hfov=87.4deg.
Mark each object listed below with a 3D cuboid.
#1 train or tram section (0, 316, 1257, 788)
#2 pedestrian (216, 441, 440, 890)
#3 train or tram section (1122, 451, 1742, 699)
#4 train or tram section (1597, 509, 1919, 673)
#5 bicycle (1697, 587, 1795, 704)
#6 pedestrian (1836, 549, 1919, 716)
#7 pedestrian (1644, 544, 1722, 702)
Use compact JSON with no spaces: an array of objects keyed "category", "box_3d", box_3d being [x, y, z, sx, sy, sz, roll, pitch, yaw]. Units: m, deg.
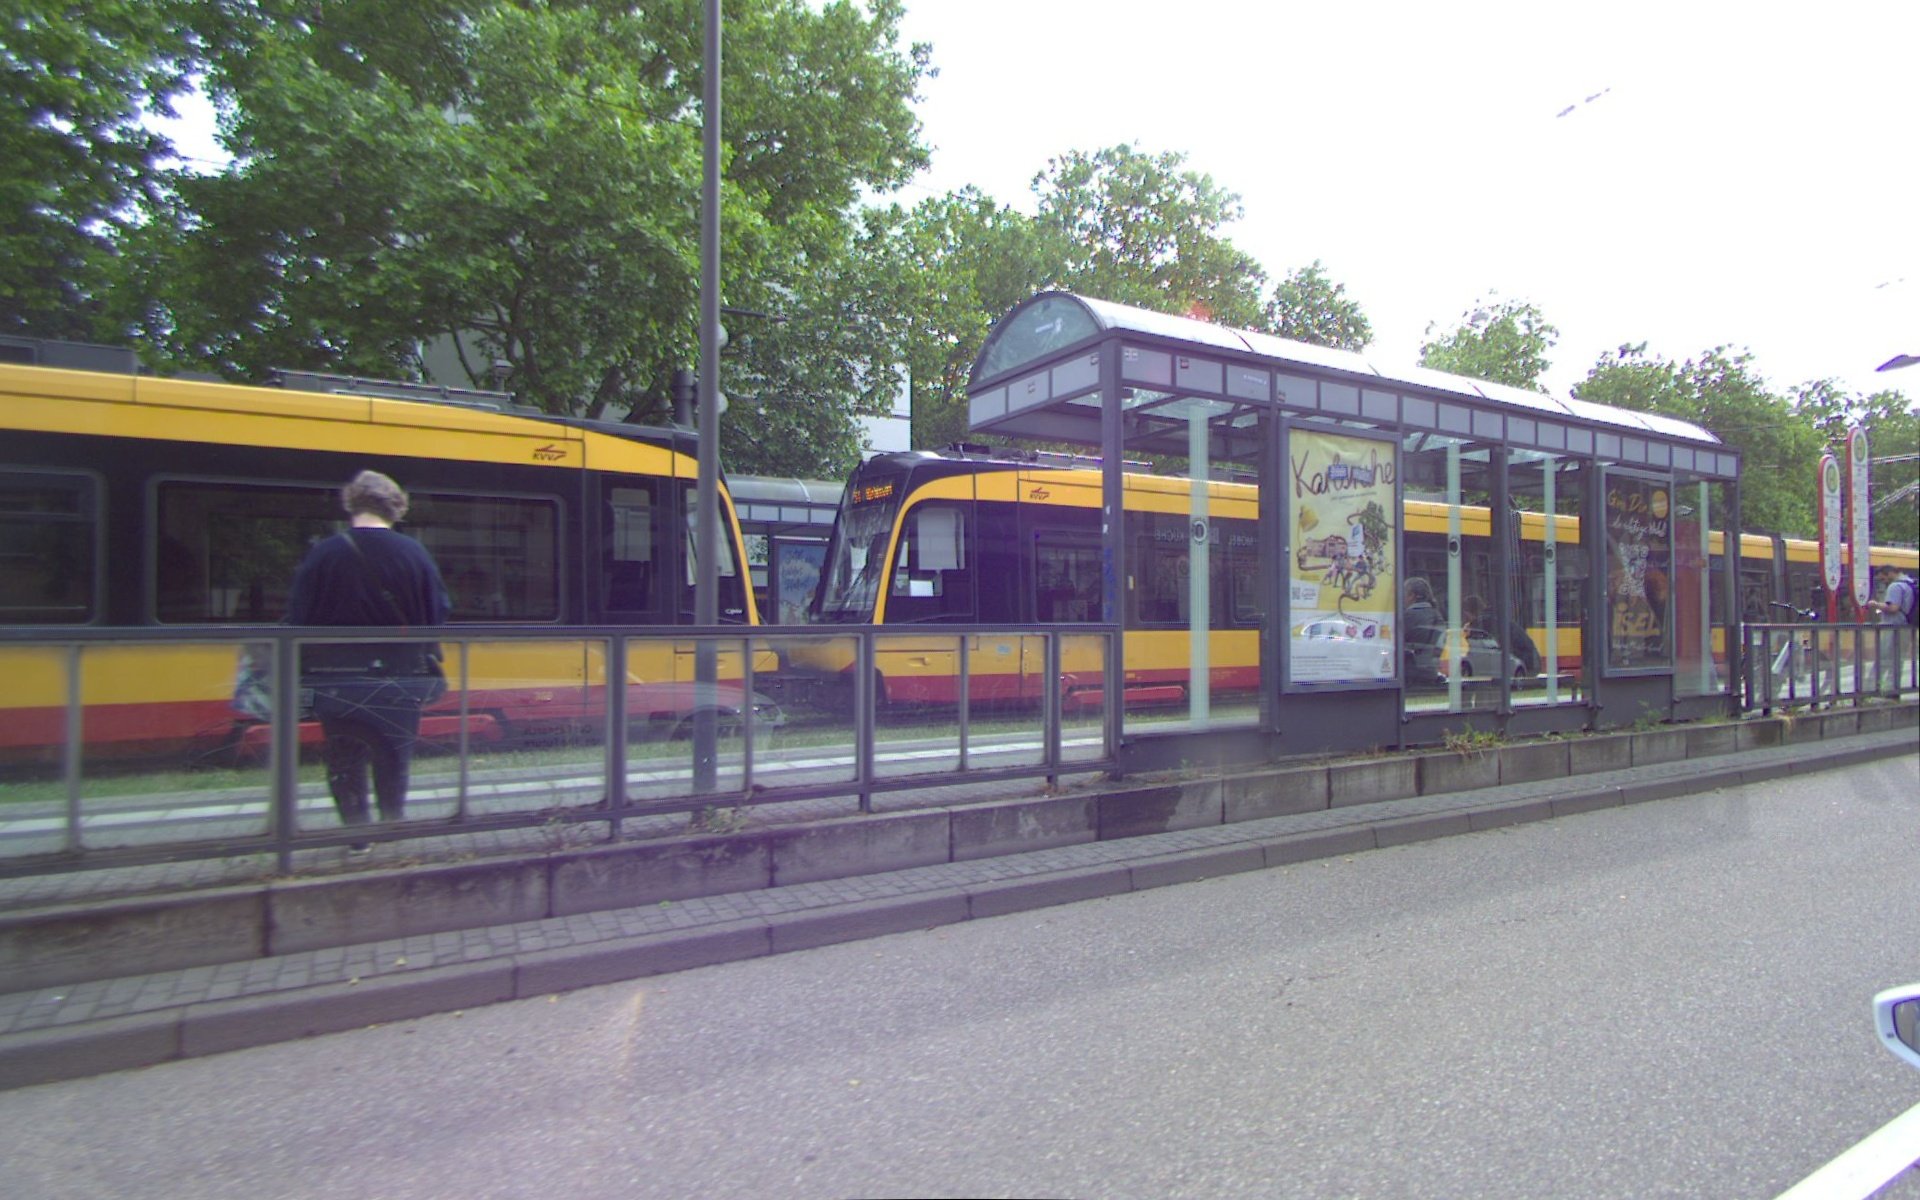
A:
[{"category":"train or tram section","box_3d":[-2.992,-0.300,11.938,15.116,3.579,3.045,1,0,-31]},{"category":"pedestrian","box_3d":[-2.541,0.246,4.105,0.721,1.654,0.510,1,0,-29]},{"category":"train or tram section","box_3d":[10.022,-0.277,19.662,15.116,3.579,3.045,1,0,-31]},{"category":"train or tram section","box_3d":[23.276,-0.115,27.546,15.664,3.636,3.045,1,0,-31]},{"category":"bicycle","box_3d":[8.747,0.487,11.173,1.275,1.238,0.416,1,0,-31]},{"category":"pedestrian","box_3d":[11.844,0.405,12.727,0.803,2.040,0.754,1,0,-7]},{"category":"pedestrian","box_3d":[7.798,0.244,10.839,0.466,1.654,0.528,1,0,-32]}]
